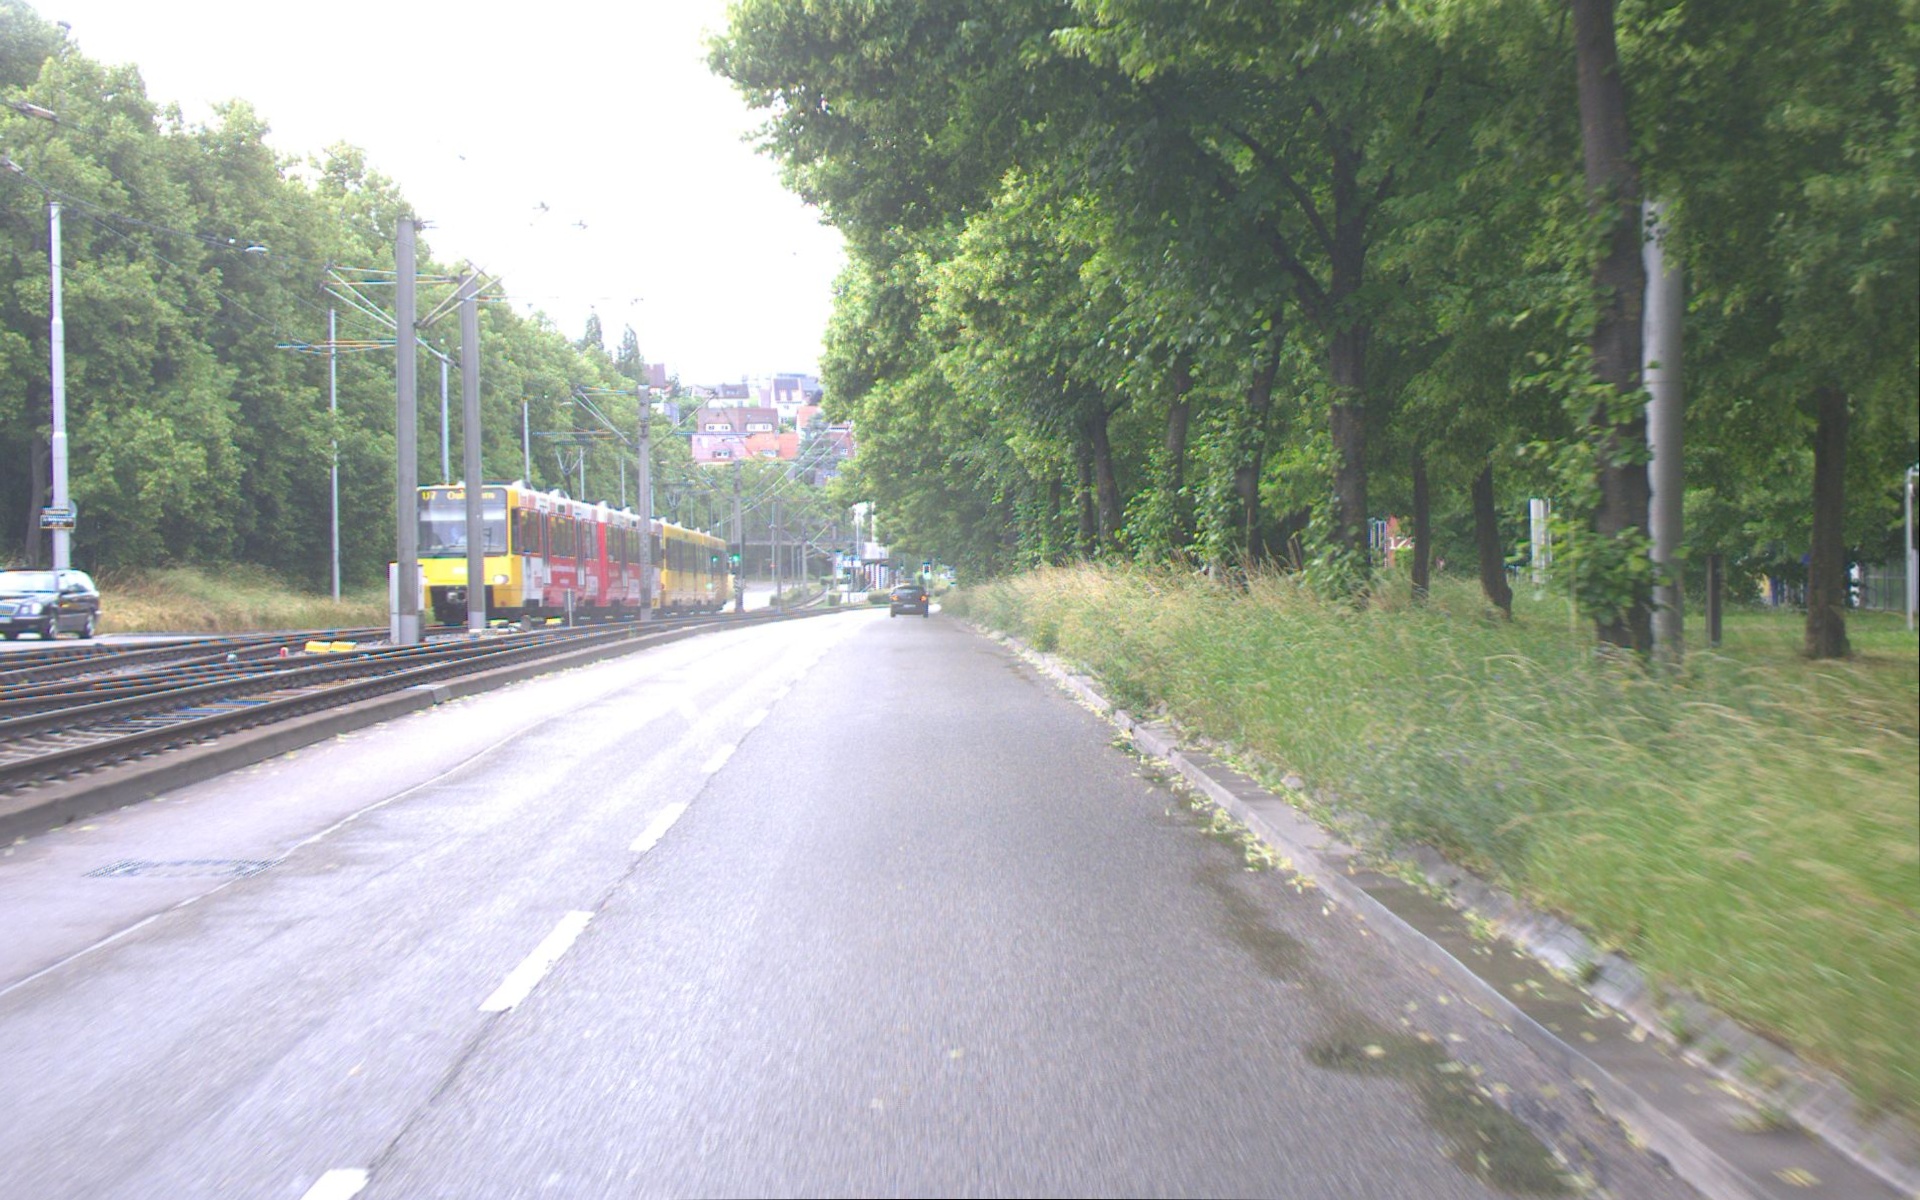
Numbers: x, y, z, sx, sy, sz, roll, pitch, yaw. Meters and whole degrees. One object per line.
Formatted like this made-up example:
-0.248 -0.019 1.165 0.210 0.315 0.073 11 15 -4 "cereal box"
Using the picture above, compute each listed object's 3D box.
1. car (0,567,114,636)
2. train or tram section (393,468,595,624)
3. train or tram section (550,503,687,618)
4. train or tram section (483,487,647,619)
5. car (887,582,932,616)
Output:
-18.524 0.029 68.936 1.902 1.320 4.826 0 0 1 "car"
-12.127 -1.306 91.060 3.214 3.783 14.789 0 0 1 "train or tram section"
-11.848 -1.316 120.730 3.214 3.783 14.789 0 0 1 "train or tram section"
-11.991 -1.345 105.889 3.214 3.783 14.789 0 0 1 "train or tram section"
-2.240 -0.051 152.560 1.982 1.436 4.474 0 1 -1 "car"
